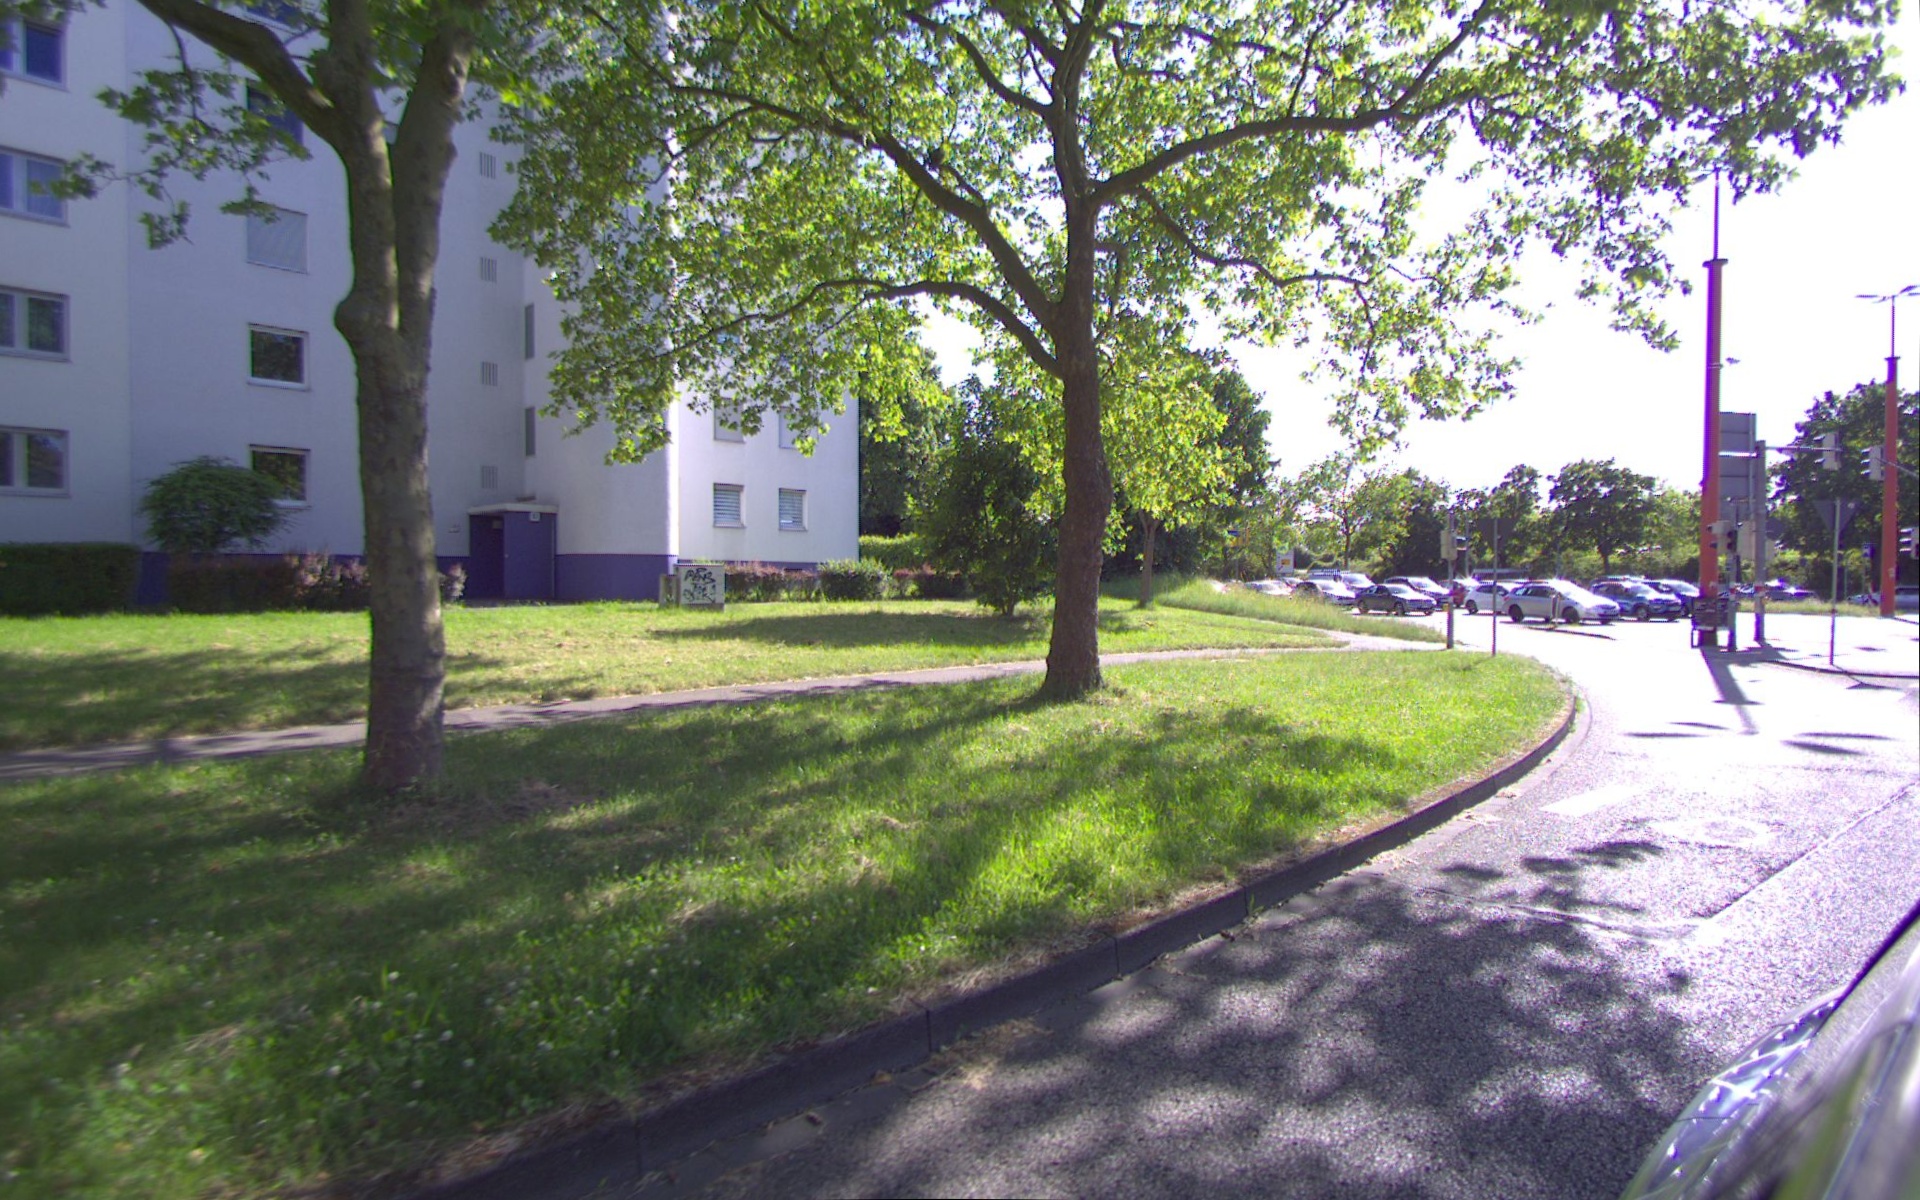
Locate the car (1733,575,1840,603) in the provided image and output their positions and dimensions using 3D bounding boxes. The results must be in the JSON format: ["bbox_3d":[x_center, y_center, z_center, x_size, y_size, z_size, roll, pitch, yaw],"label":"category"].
[{"bbox_3d":[42.679,-0.599,52.392,1.762,1.386,4.009,0,1,-14],"label":"car"}]

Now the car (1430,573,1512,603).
[{"bbox_3d":[27.284,-0.670,54.159,1.762,1.500,4.008,-2,2,-13],"label":"car"}]

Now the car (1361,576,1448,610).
[{"bbox_3d":[21.051,-0.359,48.099,1.762,1.529,4.008,-2,2,-13],"label":"car"}]

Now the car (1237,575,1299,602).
[{"bbox_3d":[18.584,-0.700,61.237,1.762,1.529,4.008,-2,2,-13],"label":"car"}]

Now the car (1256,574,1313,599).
[{"bbox_3d":[21.328,-0.907,66.709,1.762,1.529,4.008,-2,2,-13],"label":"car"}]

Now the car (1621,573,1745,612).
[{"bbox_3d":[30.013,-0.361,42.155,1.762,1.500,4.008,-2,2,-13],"label":"car"}]

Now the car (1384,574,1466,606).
[{"bbox_3d":[24.038,-0.558,52.446,1.762,1.524,4.008,-2,2,-13],"label":"car"}]

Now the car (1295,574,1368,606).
[{"bbox_3d":[20.045,-0.560,54.747,1.762,1.604,4.008,-1,2,-13],"label":"car"}]

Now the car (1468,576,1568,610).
[{"bbox_3d":[25.457,-0.359,46.320,1.762,1.409,4.008,-2,2,-13],"label":"car"}]

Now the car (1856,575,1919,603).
[{"bbox_3d":[53.441,-0.601,56.618,4.593,1.529,1.784,1,1,27],"label":"car"}]

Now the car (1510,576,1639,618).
[{"bbox_3d":[23.581,-0.155,39.051,1.762,1.500,4.294,-2,2,-13],"label":"car"}]

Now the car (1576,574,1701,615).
[{"bbox_3d":[27.002,-0.264,40.413,1.762,1.500,4.008,-2,2,-13],"label":"car"}]

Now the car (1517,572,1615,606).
[{"bbox_3d":[28.973,-0.537,48.523,1.762,1.529,4.008,-2,2,-13],"label":"car"}]

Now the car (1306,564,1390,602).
[{"bbox_3d":[22.761,-1.019,59.578,2.049,2.112,5.205,-1,2,-13],"label":"car"}]
